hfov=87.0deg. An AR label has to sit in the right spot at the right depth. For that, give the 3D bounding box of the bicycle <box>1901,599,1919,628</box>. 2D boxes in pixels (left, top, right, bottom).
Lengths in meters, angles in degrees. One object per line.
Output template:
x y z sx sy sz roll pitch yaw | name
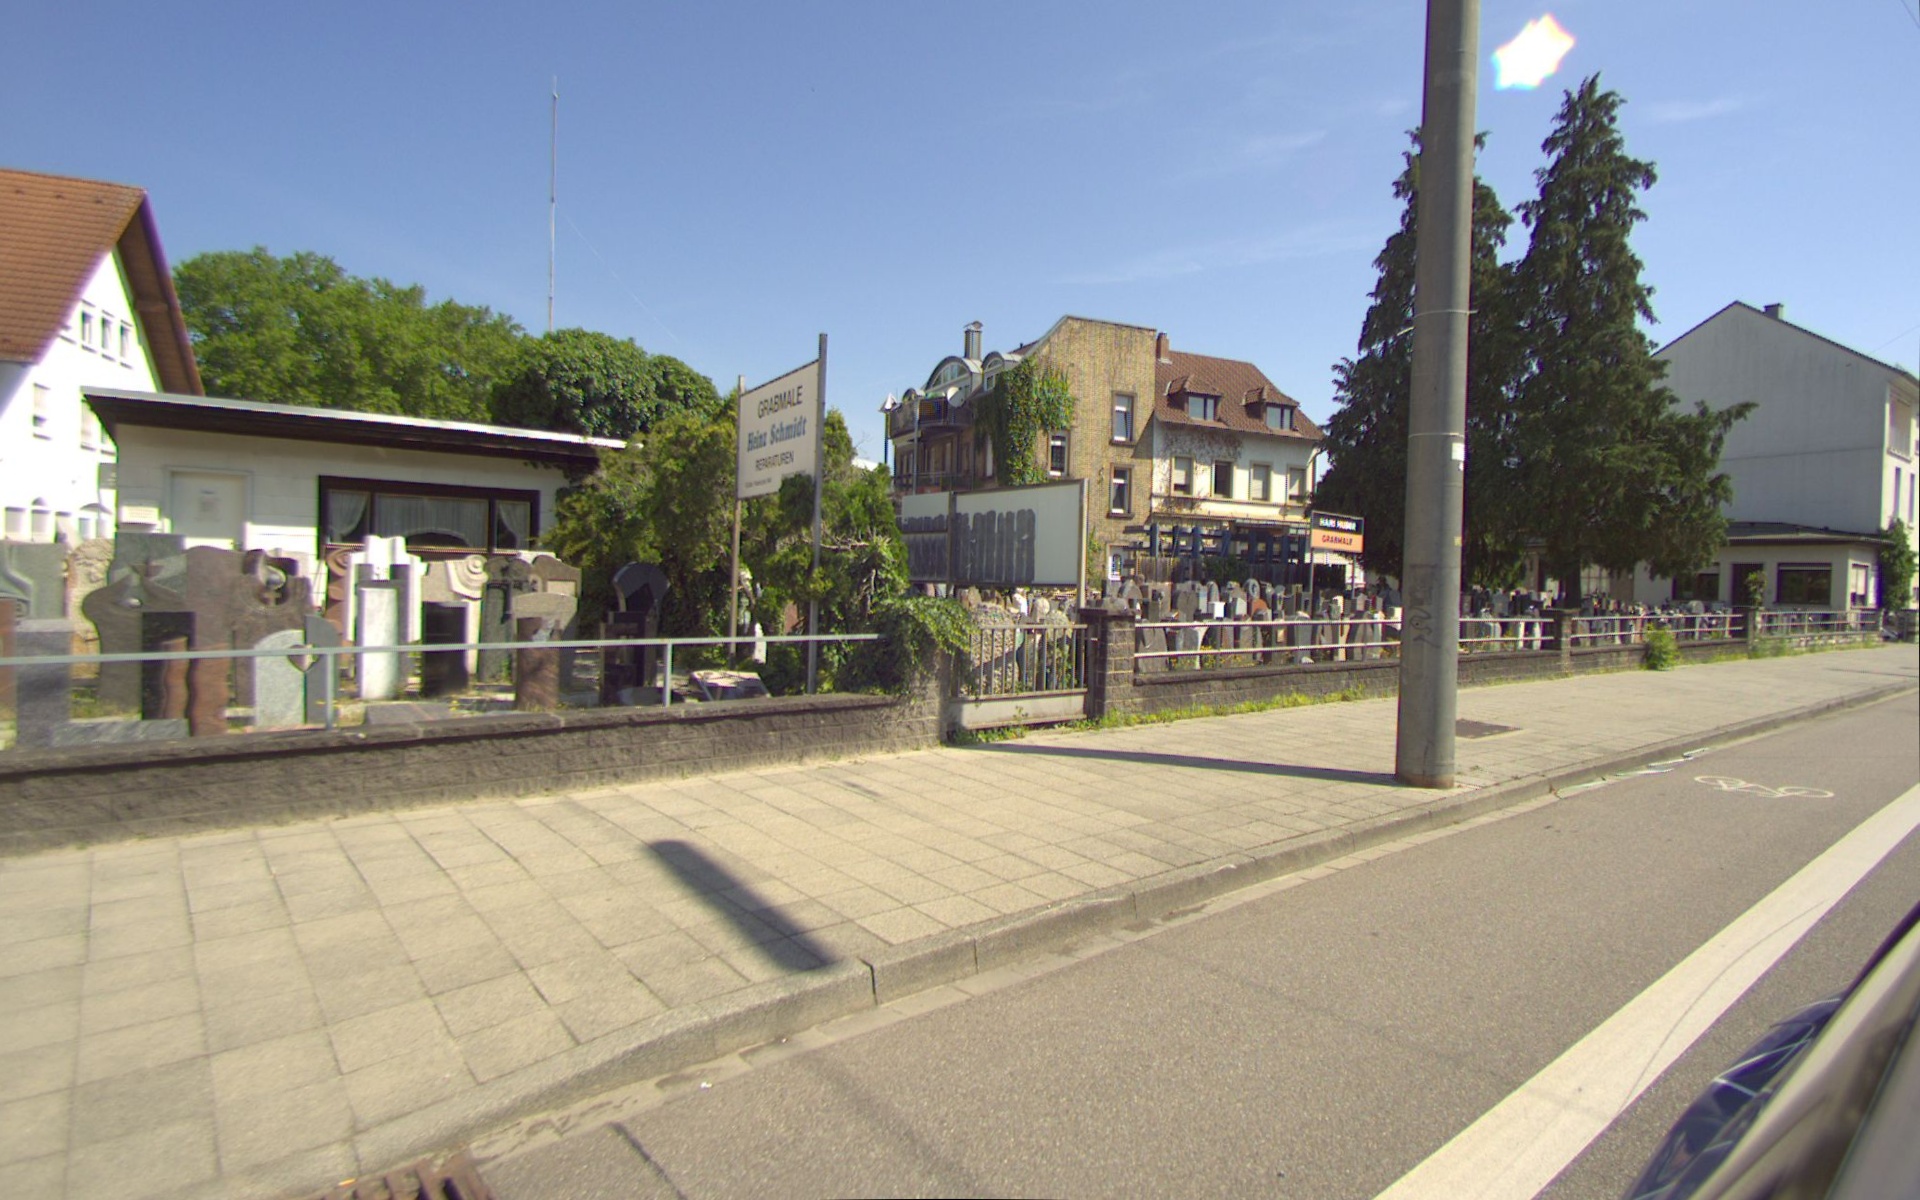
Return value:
36.759 0.569 38.324 0.390 1.069 1.533 1 4 -36 | bicycle

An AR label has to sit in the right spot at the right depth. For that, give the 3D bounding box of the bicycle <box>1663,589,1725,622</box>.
27.717 0.191 38.238 0.502 1.124 1.799 2 2 -33 | bicycle

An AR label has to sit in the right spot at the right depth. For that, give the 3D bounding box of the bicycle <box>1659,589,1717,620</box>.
28.234 0.171 39.273 0.502 1.124 1.691 1 2 -36 | bicycle

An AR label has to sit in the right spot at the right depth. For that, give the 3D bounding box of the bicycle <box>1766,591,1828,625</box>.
29.933 0.274 36.231 0.504 1.124 1.694 2 2 -13 | bicycle
